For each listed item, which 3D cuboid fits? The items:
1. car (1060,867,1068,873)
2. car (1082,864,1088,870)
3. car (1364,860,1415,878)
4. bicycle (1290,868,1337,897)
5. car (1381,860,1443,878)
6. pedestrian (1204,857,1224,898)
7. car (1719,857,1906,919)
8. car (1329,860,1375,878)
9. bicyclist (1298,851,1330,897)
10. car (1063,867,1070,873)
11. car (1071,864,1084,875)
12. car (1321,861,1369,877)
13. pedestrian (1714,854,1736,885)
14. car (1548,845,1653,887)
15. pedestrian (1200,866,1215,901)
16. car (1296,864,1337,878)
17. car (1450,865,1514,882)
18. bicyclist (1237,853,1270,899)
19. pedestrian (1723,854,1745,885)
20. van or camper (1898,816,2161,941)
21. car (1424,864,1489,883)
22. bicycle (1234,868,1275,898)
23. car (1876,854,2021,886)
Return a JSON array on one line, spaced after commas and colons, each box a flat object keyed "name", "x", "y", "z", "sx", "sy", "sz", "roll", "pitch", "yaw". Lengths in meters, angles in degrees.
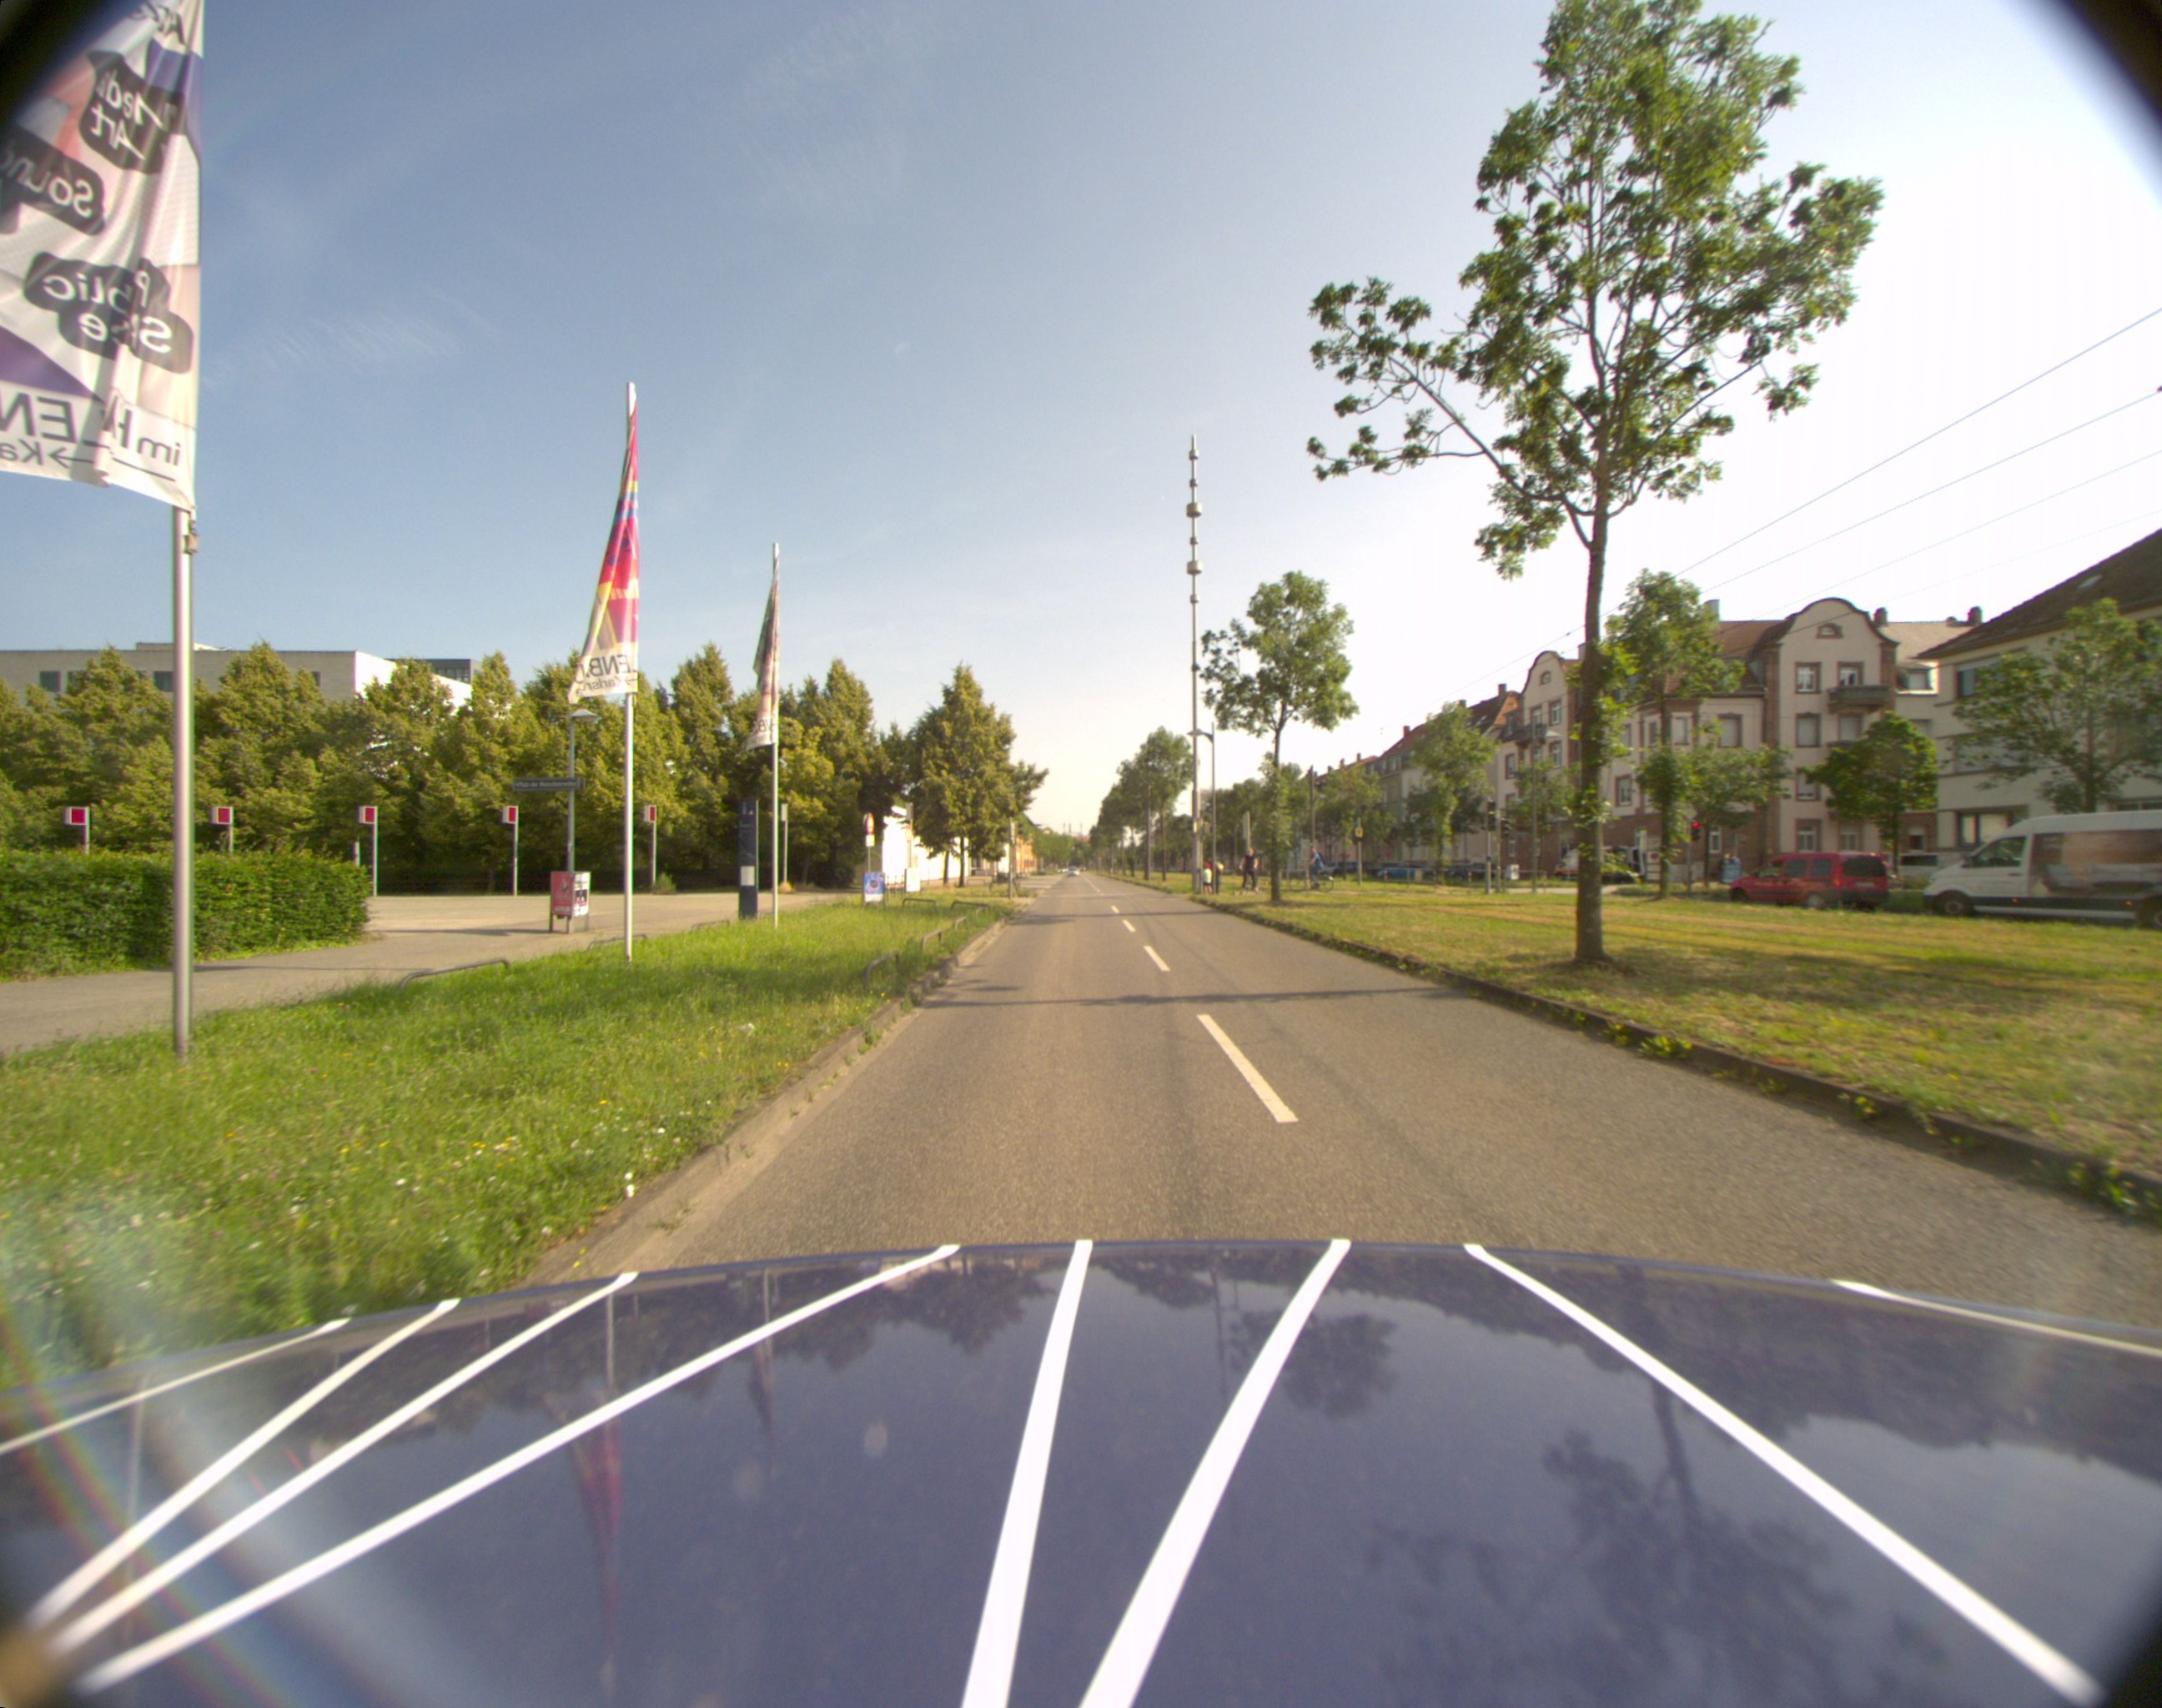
[{"name": "car", "x": -4.399, "y": 4.098, "z": 196.844, "sx": 1.999, "sy": 1.652, "sz": 4.000, "roll": 0, "pitch": -1, "yaw": 0}, {"name": "car", "x": 1.274, "y": 4.104, "z": 239.764, "sx": 1.999, "sy": 1.652, "sz": 4.000, "roll": 0, "pitch": -1, "yaw": 0}, {"name": "car", "x": 28.212, "y": 1.375, "z": 69.606, "sx": 4.053, "sy": 1.545, "sz": 1.919, "roll": -2, "pitch": 0, "yaw": 30}, {"name": "bicycle", "x": 9.561, "y": 1.170, "z": 31.301, "sx": 1.790, "sy": 1.139, "sz": 0.577, "roll": -2, "pitch": 0, "yaw": 17}, {"name": "car", "x": 27.778, "y": 1.261, "z": 63.725, "sx": 4.504, "sy": 1.432, "sz": 2.004, "roll": -2, "pitch": 0, "yaw": 31}, {"name": "pedestrian", "x": 5.339, "y": 0.932, "z": 30.464, "sx": 0.610, "sy": 1.594, "sz": 0.736, "roll": 0, "pitch": -1, "yaw": 23}, {"name": "car", "x": 22.490, "y": 0.969, "z": 23.627, "sx": 1.820, "sy": 1.727, "sz": 4.161, "roll": 1, "pitch": 0, "yaw": 1}, {"name": "car", "x": 26.988, "y": 1.496, "z": 75.610, "sx": 3.990, "sy": 1.696, "sz": 1.878, "roll": -2, "pitch": 0, "yaw": 29}, {"name": "bicyclist", "x": 9.620, "y": 0.832, "z": 31.309, "sx": 1.185, "sy": 1.839, "sz": 0.911, "roll": -2, "pitch": 0, "yaw": 17}, {"name": "car", "x": -4.062, "y": 4.407, "z": 215.227, "sx": 1.999, "sy": 1.652, "sz": 4.000, "roll": 0, "pitch": -1, "yaw": 0}, {"name": "car", "x": -0.490, "y": 2.398, "z": 116.632, "sx": 1.999, "sy": 1.652, "sz": 4.000, "roll": 0, "pitch": -1, "yaw": 0}, {"name": "car", "x": 27.783, "y": 1.584, "z": 79.913, "sx": 4.490, "sy": 1.596, "sz": 2.004, "roll": -2, "pitch": 0, "yaw": 28}, {"name": "pedestrian", "x": 37.120, "y": 0.876, "z": 43.780, "sx": 0.669, "sy": 1.737, "sz": 0.633, "roll": -2, "pitch": 0, "yaw": 0}, {"name": "car", "x": 34.657, "y": 0.792, "z": 50.981, "sx": 2.354, "sy": 2.549, "sz": 6.507, "roll": -2, "pitch": 0, "yaw": -2}, {"name": "pedestrian", "x": 4.989, "y": 1.156, "z": 29.904, "sx": 0.456, "sy": 1.350, "sz": 0.549, "roll": 0, "pitch": -1, "yaw": 22}, {"name": "car", "x": 29.123, "y": 2.106, "z": 94.113, "sx": 4.490, "sy": 1.482, "sz": 2.004, "roll": -2, "pitch": 0, "yaw": 28}, {"name": "car", "x": 28.249, "y": 1.367, "z": 53.543, "sx": 3.840, "sy": 1.121, "sz": 1.772, "roll": -2, "pitch": 0, "yaw": 31}, {"name": "bicyclist", "x": 6.852, "y": 0.856, "z": 30.206, "sx": 0.873, "sy": 1.812, "sz": 0.906, "roll": 0, "pitch": 0, "yaw": -37}, {"name": "pedestrian", "x": 36.933, "y": 0.875, "z": 42.969, "sx": 0.669, "sy": 1.737, "sz": 0.633, "roll": -2, "pitch": 0, "yaw": 0}, {"name": "van or camper", "x": 22.431, "y": 0.522, "z": 16.794, "sx": 2.147, "sy": 2.459, "sz": 6.058, "roll": 1, "pitch": 0, "yaw": -1}, {"name": "car", "x": 28.820, "y": 1.497, "z": 58.356, "sx": 4.332, "sy": 1.318, "sz": 2.004, "roll": -2, "pitch": 0, "yaw": 31}, {"name": "bicycle", "x": 6.911, "y": 1.137, "z": 30.254, "sx": 1.756, "sy": 1.139, "sz": 0.575, "roll": 0, "pitch": 0, "yaw": -37}, {"name": "car", "x": 42.727, "y": 0.781, "z": 37.547, "sx": 1.611, "sy": 1.461, "sz": 4.486, "roll": 0, "pitch": -1, "yaw": -32}]
